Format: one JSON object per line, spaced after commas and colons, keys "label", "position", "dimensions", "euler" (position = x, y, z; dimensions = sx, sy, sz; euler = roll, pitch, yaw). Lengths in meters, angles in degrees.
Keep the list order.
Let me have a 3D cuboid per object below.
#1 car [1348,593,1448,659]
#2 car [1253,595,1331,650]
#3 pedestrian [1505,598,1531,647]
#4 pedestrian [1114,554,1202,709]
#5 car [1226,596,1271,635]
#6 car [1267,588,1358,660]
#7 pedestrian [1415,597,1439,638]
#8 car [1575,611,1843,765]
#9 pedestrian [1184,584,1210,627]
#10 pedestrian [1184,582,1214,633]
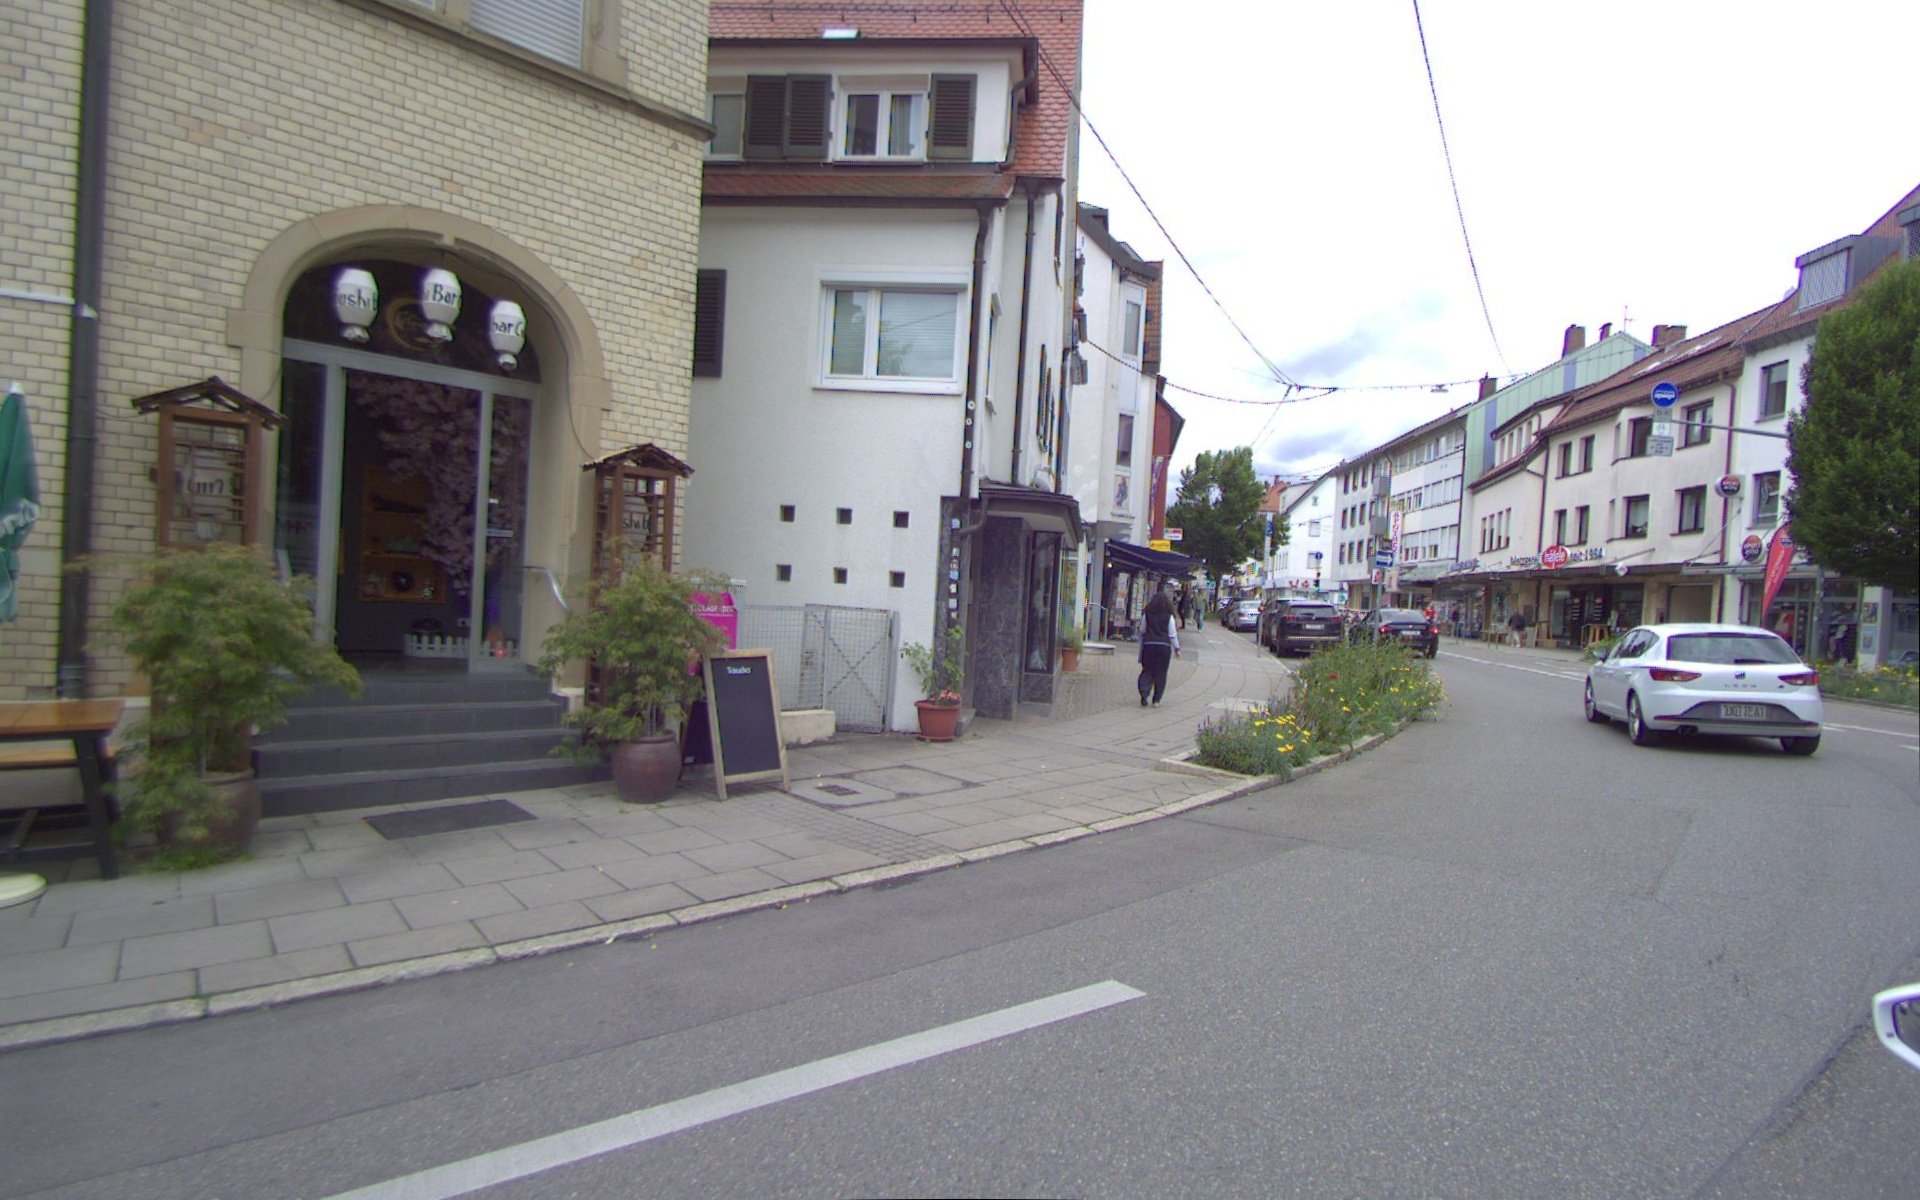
{"label": "car", "position": [13.174, 0.705, 30.502], "dimensions": [2.000, 1.697, 4.375], "euler": [3, 2, 14]}
{"label": "car", "position": [11.659, 0.744, 35.559], "dimensions": [1.959, 1.755, 4.430], "euler": [3, 0, 11]}
{"label": "pedestrian", "position": [23.588, 0.942, 42.456], "dimensions": [0.656, 2.040, 0.635], "euler": [2, 1, 6]}
{"label": "pedestrian", "position": [2.753, 0.414, 14.015], "dimensions": [1.083, 2.041, 1.014], "euler": [2, 1, 11]}
{"label": "car", "position": [13.354, 0.687, 46.693], "dimensions": [1.545, 1.644, 4.002], "euler": [2, 0, 10]}
{"label": "car", "position": [10.238, 0.662, 29.455], "dimensions": [1.959, 1.879, 4.002], "euler": [3, 0, 12]}
{"label": "pedestrian", "position": [23.810, 0.897, 51.231], "dimensions": [1.010, 2.040, 0.896], "euler": [3, 1, 21]}
{"label": "car", "position": [9.249, 0.952, 12.803], "dimensions": [1.814, 1.453, 3.997], "euler": [2, 2, 23]}
{"label": "pedestrian", "position": [11.571, 0.239, 49.065], "dimensions": [1.084, 2.041, 1.014], "euler": [2, 1, 8]}
{"label": "pedestrian", "position": [9.844, 0.300, 41.467], "dimensions": [1.083, 2.041, 1.014], "euler": [2, 1, 11]}
